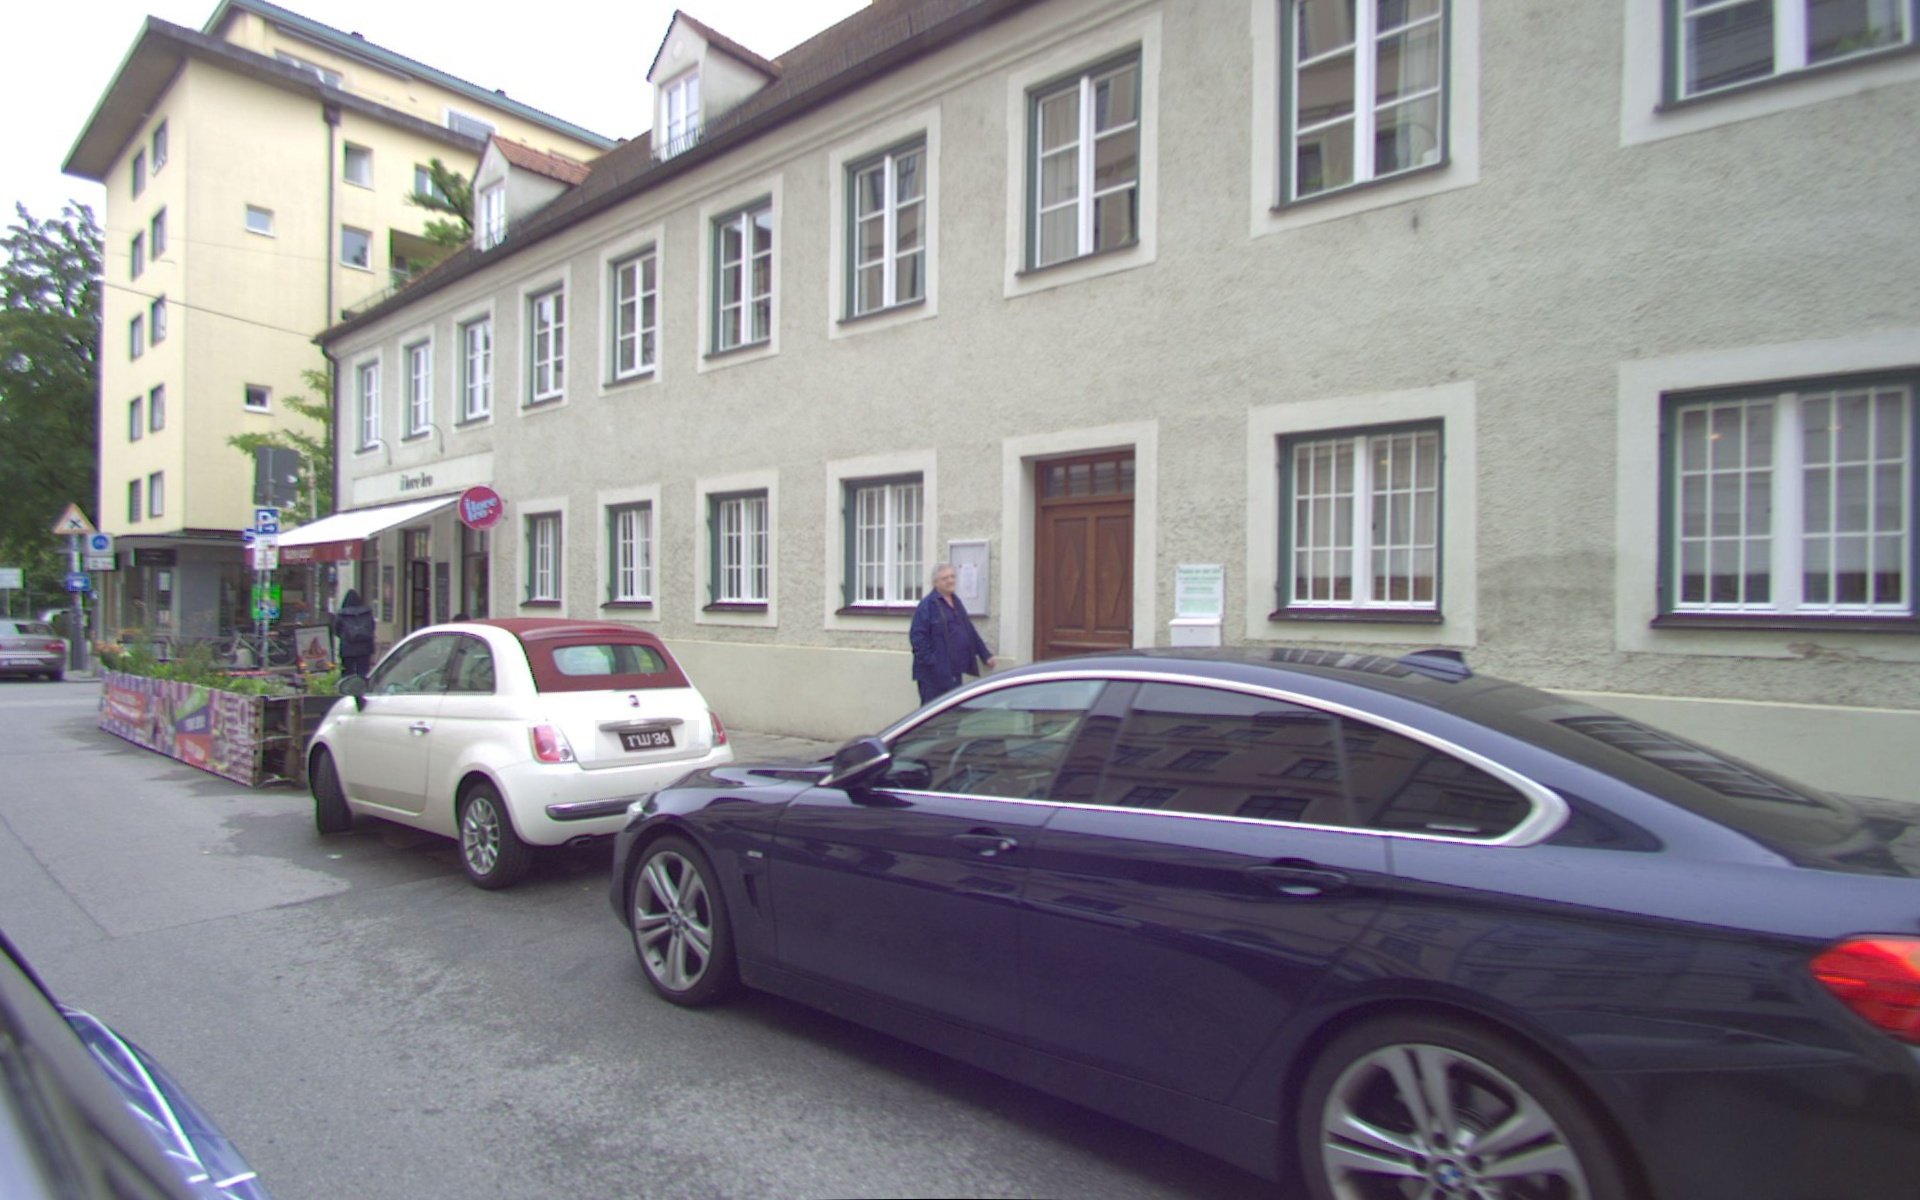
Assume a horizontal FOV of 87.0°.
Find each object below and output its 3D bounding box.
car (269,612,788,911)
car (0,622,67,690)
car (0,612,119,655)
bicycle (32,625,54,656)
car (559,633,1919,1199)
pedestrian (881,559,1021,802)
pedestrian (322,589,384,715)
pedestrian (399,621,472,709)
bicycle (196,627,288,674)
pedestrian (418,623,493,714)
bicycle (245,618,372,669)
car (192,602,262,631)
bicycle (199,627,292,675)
[{"bbox_3d":[-3.086,0.842,6.954,3.709,1.486,1.738,-1,0,38],"label":"car"},{"bbox_3d":[-22.696,1.260,23.830,4.944,1.482,1.662,-1,-3,39],"label":"car"},{"bbox_3d":[-44.661,1.603,49.969,1.926,2.016,4.381,1,0,26],"label":"car"},{"bbox_3d":[-38.621,1.696,42.630,1.854,1.219,0.555,-1,0,44],"label":"bicycle"},{"bbox_3d":[0.643,0.809,3.469,4.682,1.349,1.780,-2,-1,40],"label":"car"},{"bbox_3d":[-0.075,0.634,8.554,0.827,1.912,0.814,1,-1,40],"label":"pedestrian"},{"bbox_3d":[-8.960,0.738,14.935,0.877,1.795,0.523,1,-1,42],"label":"pedestrian"},{"bbox_3d":[-8.173,0.992,15.779,0.693,1.299,0.795,1,-1,41],"label":"pedestrian"},{"bbox_3d":[-17.802,1.229,25.117,0.392,1.042,1.798,-2,0,44],"label":"bicycle"},{"bbox_3d":[-7.623,1.014,15.309,0.693,1.300,0.795,1,-1,41],"label":"pedestrian"},{"bbox_3d":[-17.790,1.165,27.712,0.818,1.220,2.811,1,1,44],"label":"bicycle"},{"bbox_3d":[-55.459,1.256,76.674,3.900,2.120,1.911,0,0,-18],"label":"car"},{"bbox_3d":[-17.511,1.234,24.836,0.392,1.042,1.798,-2,0,44],"label":"bicycle"}]
